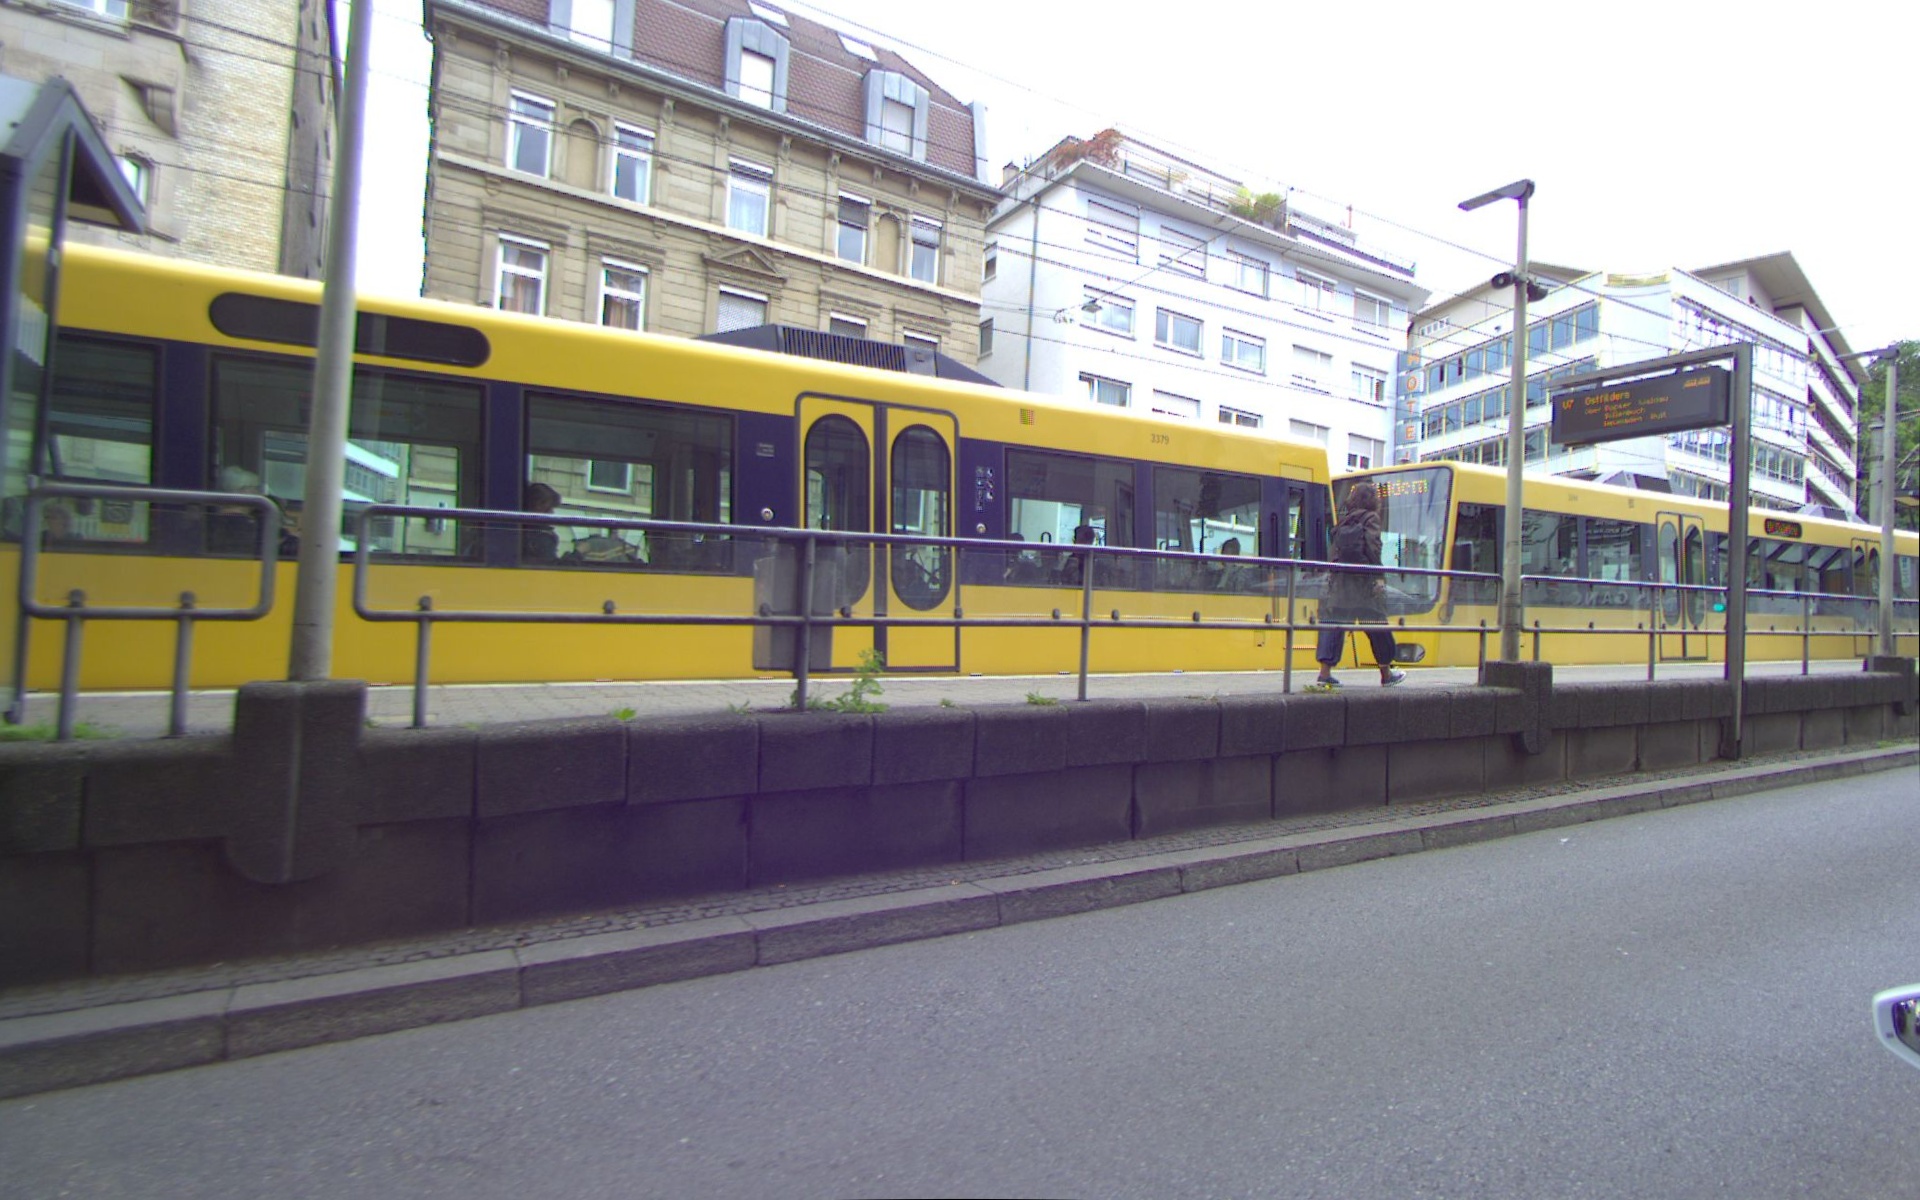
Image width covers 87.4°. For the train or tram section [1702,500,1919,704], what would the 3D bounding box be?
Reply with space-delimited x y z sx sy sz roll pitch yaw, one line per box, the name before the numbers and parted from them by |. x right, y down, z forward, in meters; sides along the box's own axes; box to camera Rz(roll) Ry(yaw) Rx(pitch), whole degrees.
train or tram section | 18.950 0.137 21.267 6.674 3.715 2.799 2 0 -31

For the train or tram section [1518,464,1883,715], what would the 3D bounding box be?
train or tram section | 13.228 -0.056 17.820 6.674 3.715 2.799 2 0 -31

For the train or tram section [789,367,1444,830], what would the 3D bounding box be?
train or tram section | 1.839 0.090 10.929 6.670 3.715 2.800 2 0 -29

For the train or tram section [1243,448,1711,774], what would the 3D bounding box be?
train or tram section | 7.511 0.221 14.364 6.674 3.715 2.799 2 0 -31

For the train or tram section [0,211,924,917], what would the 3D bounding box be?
train or tram section | -3.549 -0.109 7.751 5.831 3.715 2.800 2 0 -29

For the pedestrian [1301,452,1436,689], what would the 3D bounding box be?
pedestrian | 3.252 -0.209 8.015 0.836 1.785 0.624 1 -1 -30

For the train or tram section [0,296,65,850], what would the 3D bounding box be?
train or tram section | -8.534 -0.228 4.844 5.682 3.568 2.822 2 0 -29

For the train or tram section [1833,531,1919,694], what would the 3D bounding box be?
train or tram section | 24.675 0.391 24.739 6.674 3.715 2.799 2 0 -31
